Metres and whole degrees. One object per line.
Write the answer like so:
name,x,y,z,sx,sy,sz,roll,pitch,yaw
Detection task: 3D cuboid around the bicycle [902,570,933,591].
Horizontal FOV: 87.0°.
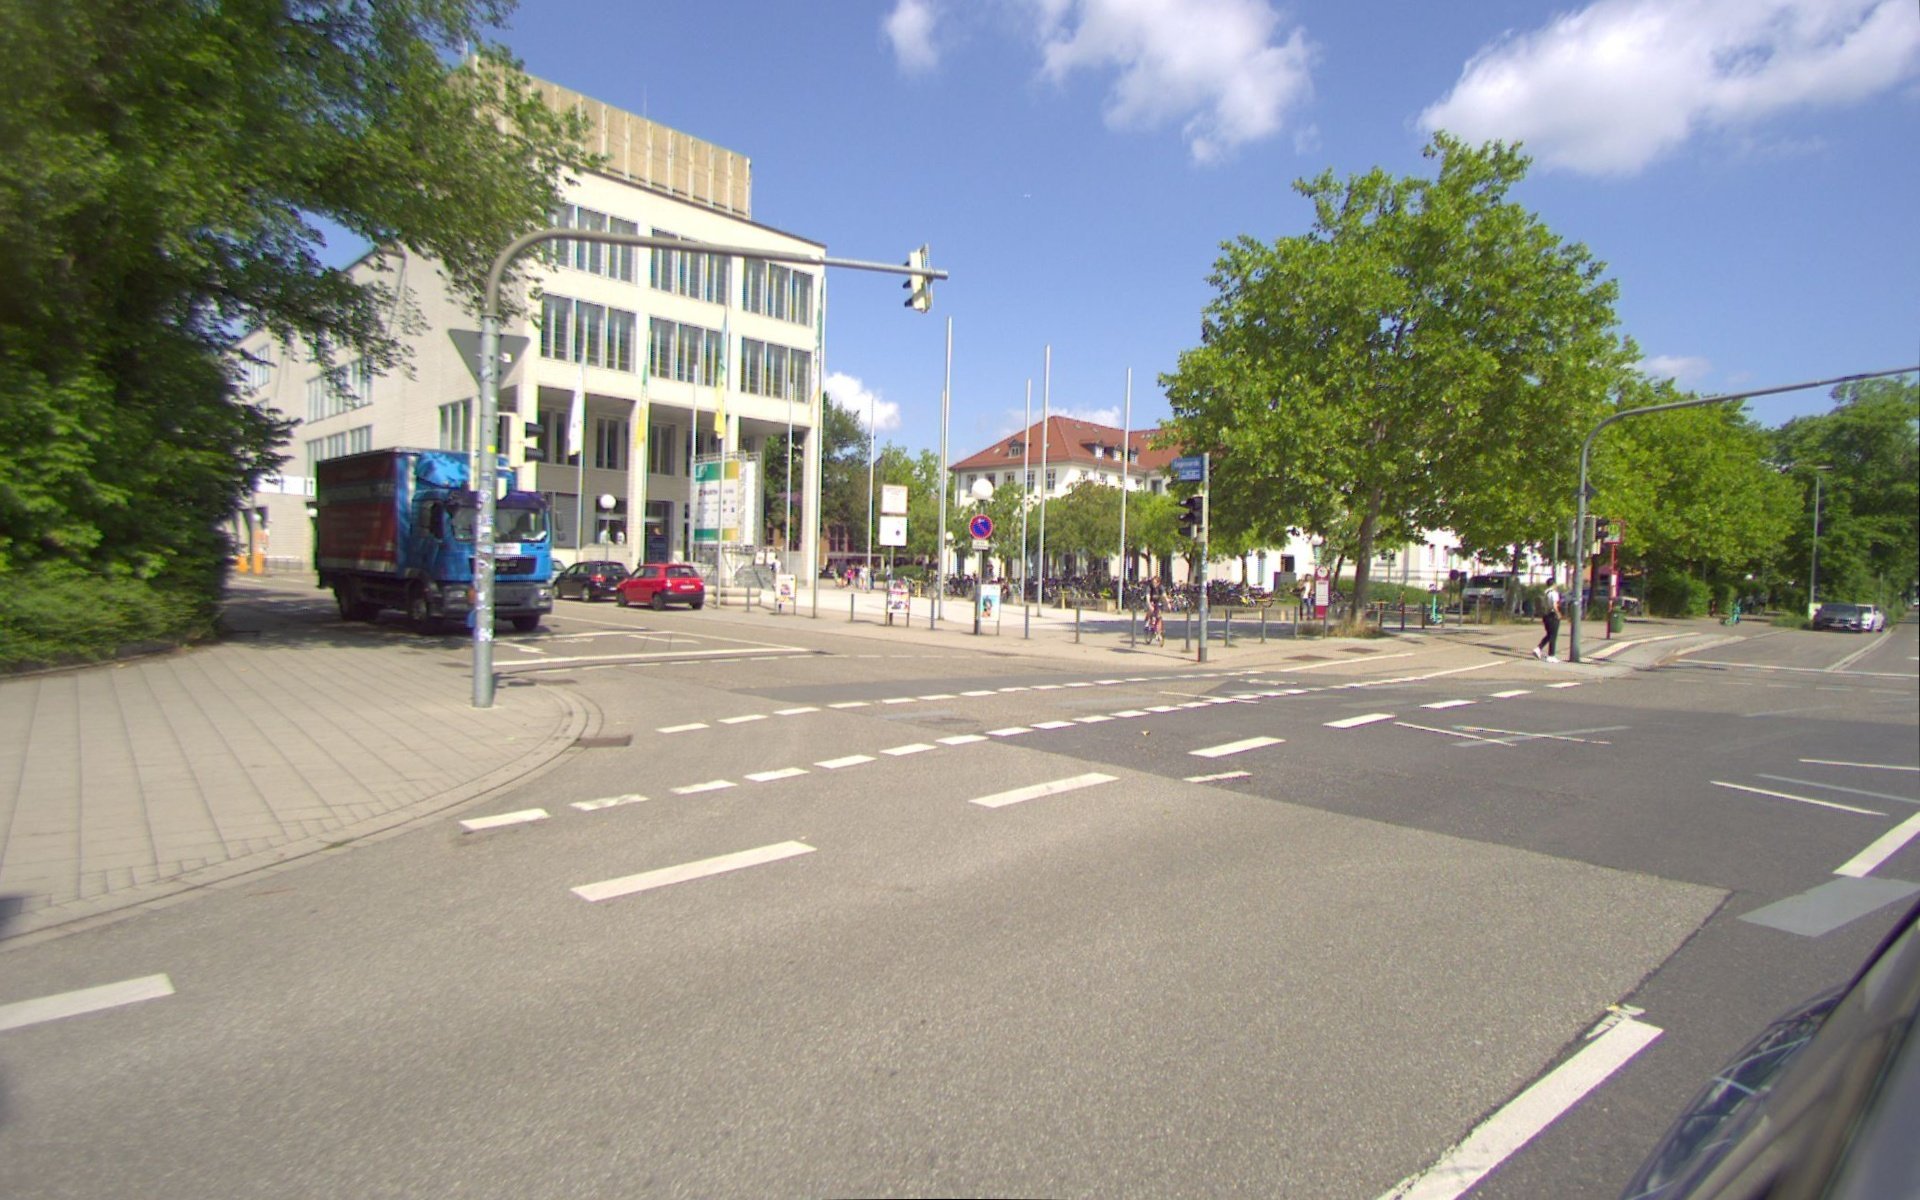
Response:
bicycle,-2.334,-1.055,55.510,1.666,1.110,0.618,2,1,41

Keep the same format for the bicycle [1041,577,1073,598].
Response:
bicycle,5.293,-0.700,55.067,1.666,1.110,0.618,2,1,41

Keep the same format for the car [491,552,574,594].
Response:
car,-17.550,-1.124,41.516,3.989,1.633,1.756,3,2,45

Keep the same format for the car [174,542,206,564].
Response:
car,-65.602,-3.994,86.194,3.988,1.794,1.634,1,1,45

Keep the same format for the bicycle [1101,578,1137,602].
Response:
bicycle,7.811,-0.498,49.792,1.666,1.110,0.618,2,1,41

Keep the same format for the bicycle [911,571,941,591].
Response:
bicycle,-1.897,-1.051,56.010,1.666,1.110,0.618,2,1,41

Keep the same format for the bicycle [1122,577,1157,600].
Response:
bicycle,9.126,-0.578,51.485,1.666,1.110,0.618,2,1,41

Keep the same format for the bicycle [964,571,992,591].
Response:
bicycle,1.050,-1.124,59.998,1.666,1.110,0.618,2,1,41

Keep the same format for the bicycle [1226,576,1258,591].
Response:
bicycle,16.279,-0.961,58.476,1.666,0.800,0.618,3,2,41

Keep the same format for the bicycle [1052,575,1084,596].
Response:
bicycle,5.933,-0.809,55.672,1.666,1.110,0.618,2,1,41

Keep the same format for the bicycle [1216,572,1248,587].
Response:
bicycle,15.523,-1.163,57.698,1.666,0.800,0.618,3,2,41

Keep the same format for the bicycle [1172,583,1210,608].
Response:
bicycle,11.007,-0.232,48.257,1.666,1.110,0.618,2,1,41

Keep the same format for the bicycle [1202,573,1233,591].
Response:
bicycle,14.450,-1.013,56.791,1.666,0.932,0.465,2,1,41

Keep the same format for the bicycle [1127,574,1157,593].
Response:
bicycle,10.946,-0.980,60.922,1.666,1.110,0.618,2,1,41

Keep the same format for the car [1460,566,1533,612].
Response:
car,25.566,-0.517,48.150,1.992,2.038,4.829,2,2,41

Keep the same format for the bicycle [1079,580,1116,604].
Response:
bicycle,6.609,-0.406,48.693,1.666,1.110,0.618,2,1,41

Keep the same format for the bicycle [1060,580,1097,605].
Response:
bicycle,5.573,-0.373,47.628,1.666,1.110,0.618,2,1,41

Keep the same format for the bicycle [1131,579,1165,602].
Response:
bicycle,9.703,-0.482,52.230,1.666,1.110,0.618,2,1,41

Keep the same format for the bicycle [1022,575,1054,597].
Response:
bicycle,4.162,-0.748,54.124,1.666,1.110,0.618,2,1,41

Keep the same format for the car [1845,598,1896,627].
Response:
car,47.784,0.653,53.094,3.932,1.359,1.559,0,4,-42

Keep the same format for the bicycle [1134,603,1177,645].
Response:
bicycle,4.434,0.532,23.032,0.608,0.843,1.516,1,2,-3

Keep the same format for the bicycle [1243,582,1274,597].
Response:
bicycle,17.870,-0.632,60.636,1.666,0.800,0.618,3,2,41

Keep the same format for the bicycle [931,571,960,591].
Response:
bicycle,-0.833,-1.099,57.571,1.666,1.110,0.618,2,1,41

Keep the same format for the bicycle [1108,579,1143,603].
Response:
bicycle,8.235,-0.460,50.420,1.666,1.110,0.618,2,1,41

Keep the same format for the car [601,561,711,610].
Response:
car,-10.182,-0.523,33.792,3.985,1.497,1.696,3,4,42

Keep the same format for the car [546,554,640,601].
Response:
car,-13.667,-0.848,37.576,3.989,1.633,1.756,3,2,45

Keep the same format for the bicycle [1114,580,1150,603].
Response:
bicycle,8.660,-0.447,50.928,1.666,1.110,0.618,2,1,41

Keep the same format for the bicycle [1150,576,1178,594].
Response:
bicycle,12.801,-0.946,63.511,1.666,1.110,0.618,2,1,41

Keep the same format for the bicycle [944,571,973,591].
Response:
bicycle,-0.065,-1.087,58.413,1.666,1.110,0.618,2,1,41

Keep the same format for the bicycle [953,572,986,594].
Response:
bicycle,0.492,-0.900,52.949,1.666,1.110,0.618,2,1,41

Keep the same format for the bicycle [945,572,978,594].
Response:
bicycle,0.066,-0.875,52.377,1.666,1.110,0.618,2,1,41

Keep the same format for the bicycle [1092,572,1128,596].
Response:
bicycle,7.268,-0.787,49.125,1.666,1.110,0.618,2,1,41

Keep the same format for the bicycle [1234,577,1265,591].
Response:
bicycle,16.968,-0.957,59.358,1.666,0.800,0.618,3,2,41

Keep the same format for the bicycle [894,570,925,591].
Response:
bicycle,-2.749,-1.051,54.968,1.666,1.110,0.618,2,1,41

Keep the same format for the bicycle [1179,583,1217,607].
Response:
bicycle,11.461,-0.261,48.778,1.666,1.110,0.618,2,1,41

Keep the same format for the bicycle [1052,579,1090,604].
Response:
bicycle,5.156,-0.398,47.112,1.666,1.110,0.618,2,1,41

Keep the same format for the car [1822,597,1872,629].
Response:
car,43.449,0.595,49.570,1.704,1.345,3.939,6,4,42

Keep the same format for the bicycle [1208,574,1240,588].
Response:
bicycle,14.937,-1.075,57.243,1.666,0.800,0.618,3,2,41

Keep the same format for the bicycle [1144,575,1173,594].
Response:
bicycle,12.287,-0.980,62.709,1.666,1.110,0.618,2,1,41

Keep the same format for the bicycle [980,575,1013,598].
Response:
bicycle,1.875,-0.694,51.823,1.666,1.110,0.618,2,1,41

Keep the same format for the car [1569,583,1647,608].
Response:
car,41.041,-0.284,64.125,3.978,1.442,1.734,2,2,37

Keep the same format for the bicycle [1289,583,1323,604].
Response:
bicycle,19.078,-0.362,55.783,1.666,1.110,0.618,2,1,41

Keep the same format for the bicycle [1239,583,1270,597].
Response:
bicycle,17.461,-0.597,60.075,1.666,0.800,0.618,3,2,41

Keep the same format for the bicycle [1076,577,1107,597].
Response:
bicycle,7.573,-0.756,58.236,1.666,1.110,0.618,2,1,41

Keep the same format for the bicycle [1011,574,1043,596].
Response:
bicycle,3.531,-0.800,53.325,1.666,1.110,0.618,2,1,41

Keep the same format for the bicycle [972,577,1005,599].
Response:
bicycle,1.451,-0.616,51.306,1.666,1.110,0.618,2,1,41
